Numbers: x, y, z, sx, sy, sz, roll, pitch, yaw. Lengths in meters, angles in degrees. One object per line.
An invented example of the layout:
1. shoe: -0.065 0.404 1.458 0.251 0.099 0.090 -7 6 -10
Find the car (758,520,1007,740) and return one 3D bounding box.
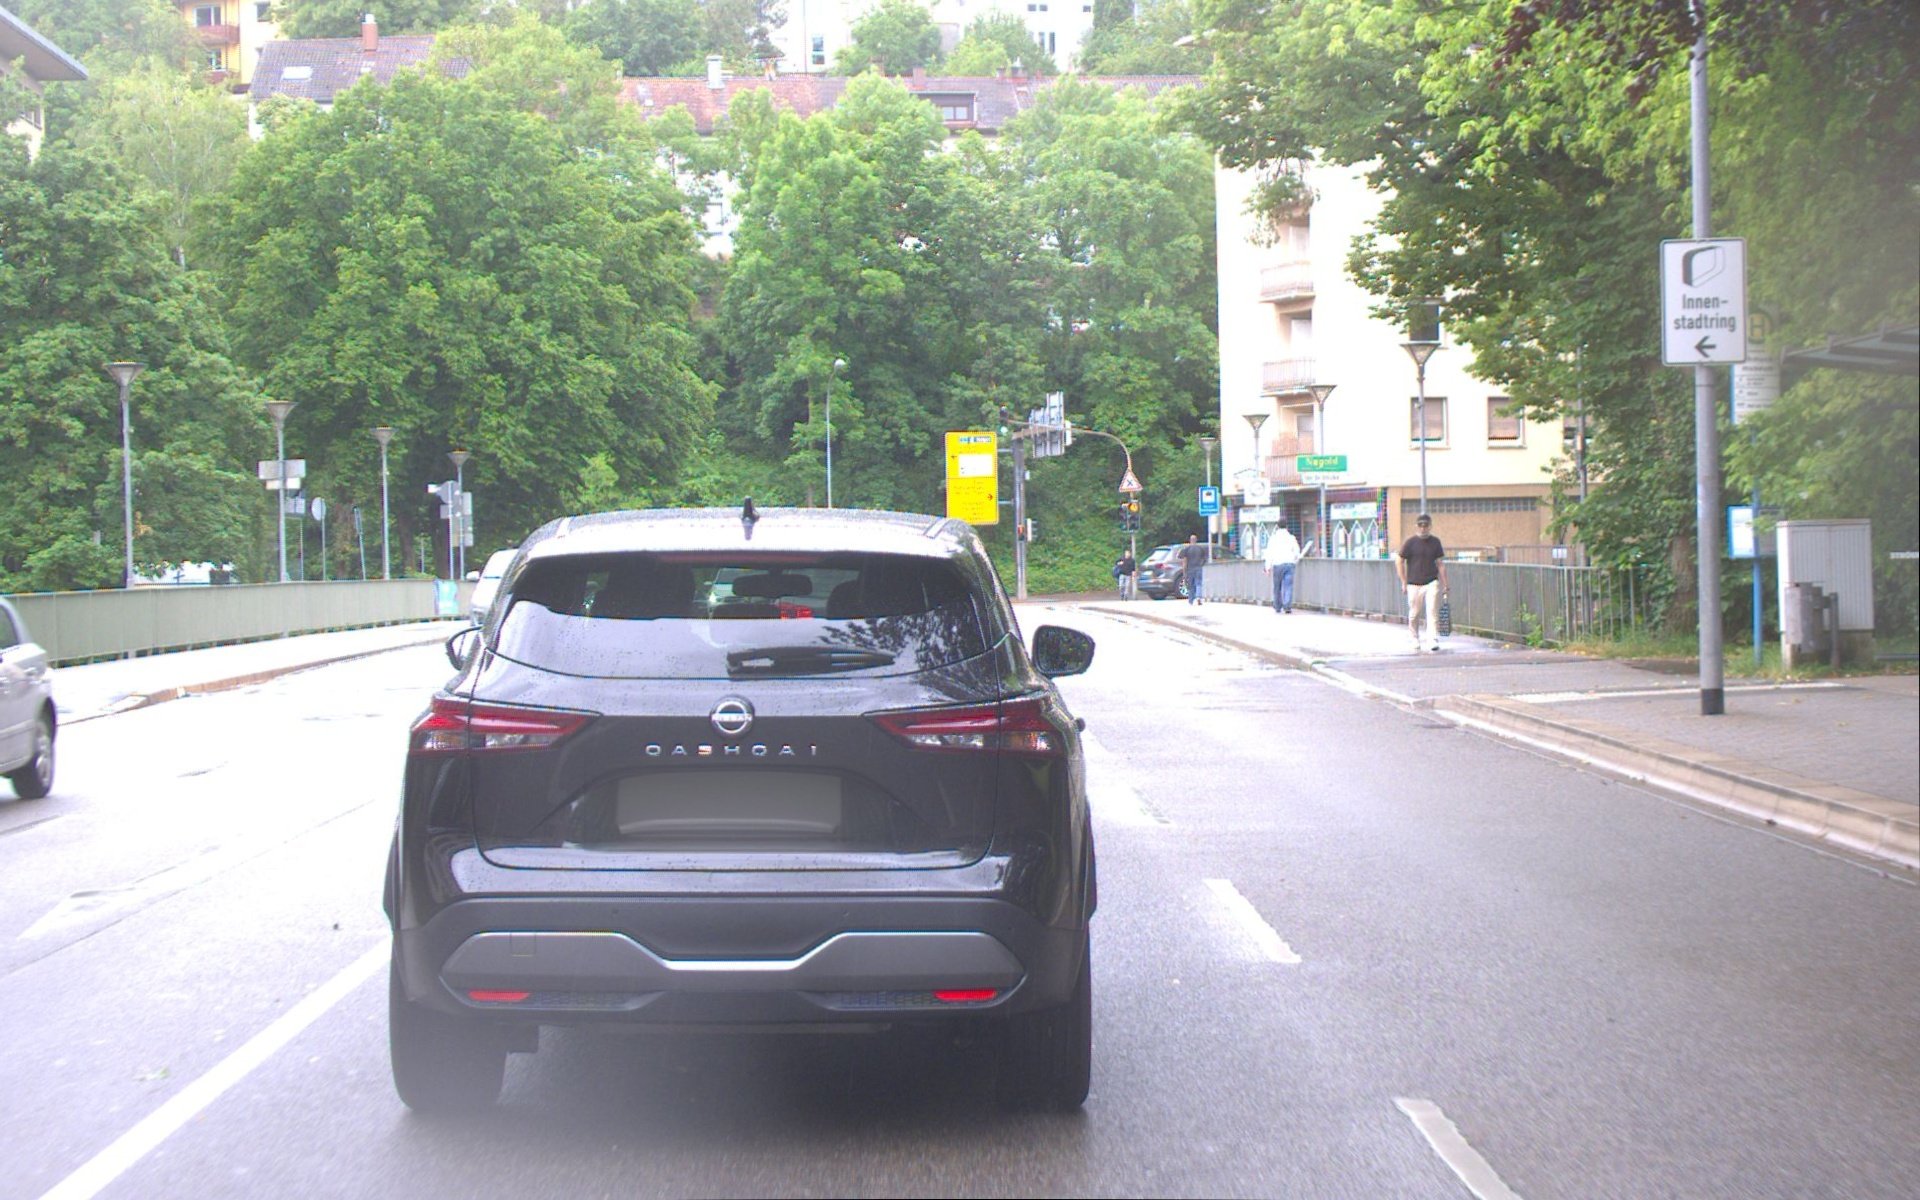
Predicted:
1. car: -0.599 0.180 27.132 1.811 1.597 4.000 0 1 -1

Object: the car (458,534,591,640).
1. car: -7.127 -0.248 56.588 1.813 1.573 4.232 -2 1 -3

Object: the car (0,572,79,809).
1. car: -6.805 0.600 21.217 1.813 1.411 4.049 -2 1 -3

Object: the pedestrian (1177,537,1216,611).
1. pedestrian: 5.520 -0.618 80.304 0.761 1.671 0.781 -3 1 -1

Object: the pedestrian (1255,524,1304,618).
1. pedestrian: 6.000 -0.545 64.588 0.779 1.746 1.061 -1 0 -1

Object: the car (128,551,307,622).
1. car: -20.724 -0.395 96.129 4.741 1.848 2.001 -1 2 -9

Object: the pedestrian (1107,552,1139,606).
1. pedestrian: 4.979 -0.650 105.092 0.862 1.613 0.839 -2 0 -1

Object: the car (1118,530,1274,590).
1. car: 7.241 -1.228 105.347 4.366 1.643 1.884 -3 0 -26

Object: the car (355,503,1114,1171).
1. car: -0.568 0.530 10.221 1.811 1.597 4.000 0 1 -1

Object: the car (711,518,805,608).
1. car: -5.559 -1.067 95.463 2.289 2.300 6.510 -2 1 -1

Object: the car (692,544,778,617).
1. car: -4.962 -0.455 76.185 1.781 1.469 4.167 -2 1 -3

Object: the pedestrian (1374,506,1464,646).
1. pedestrian: 5.701 -0.297 42.743 0.847 1.670 1.168 -3 0 -1
